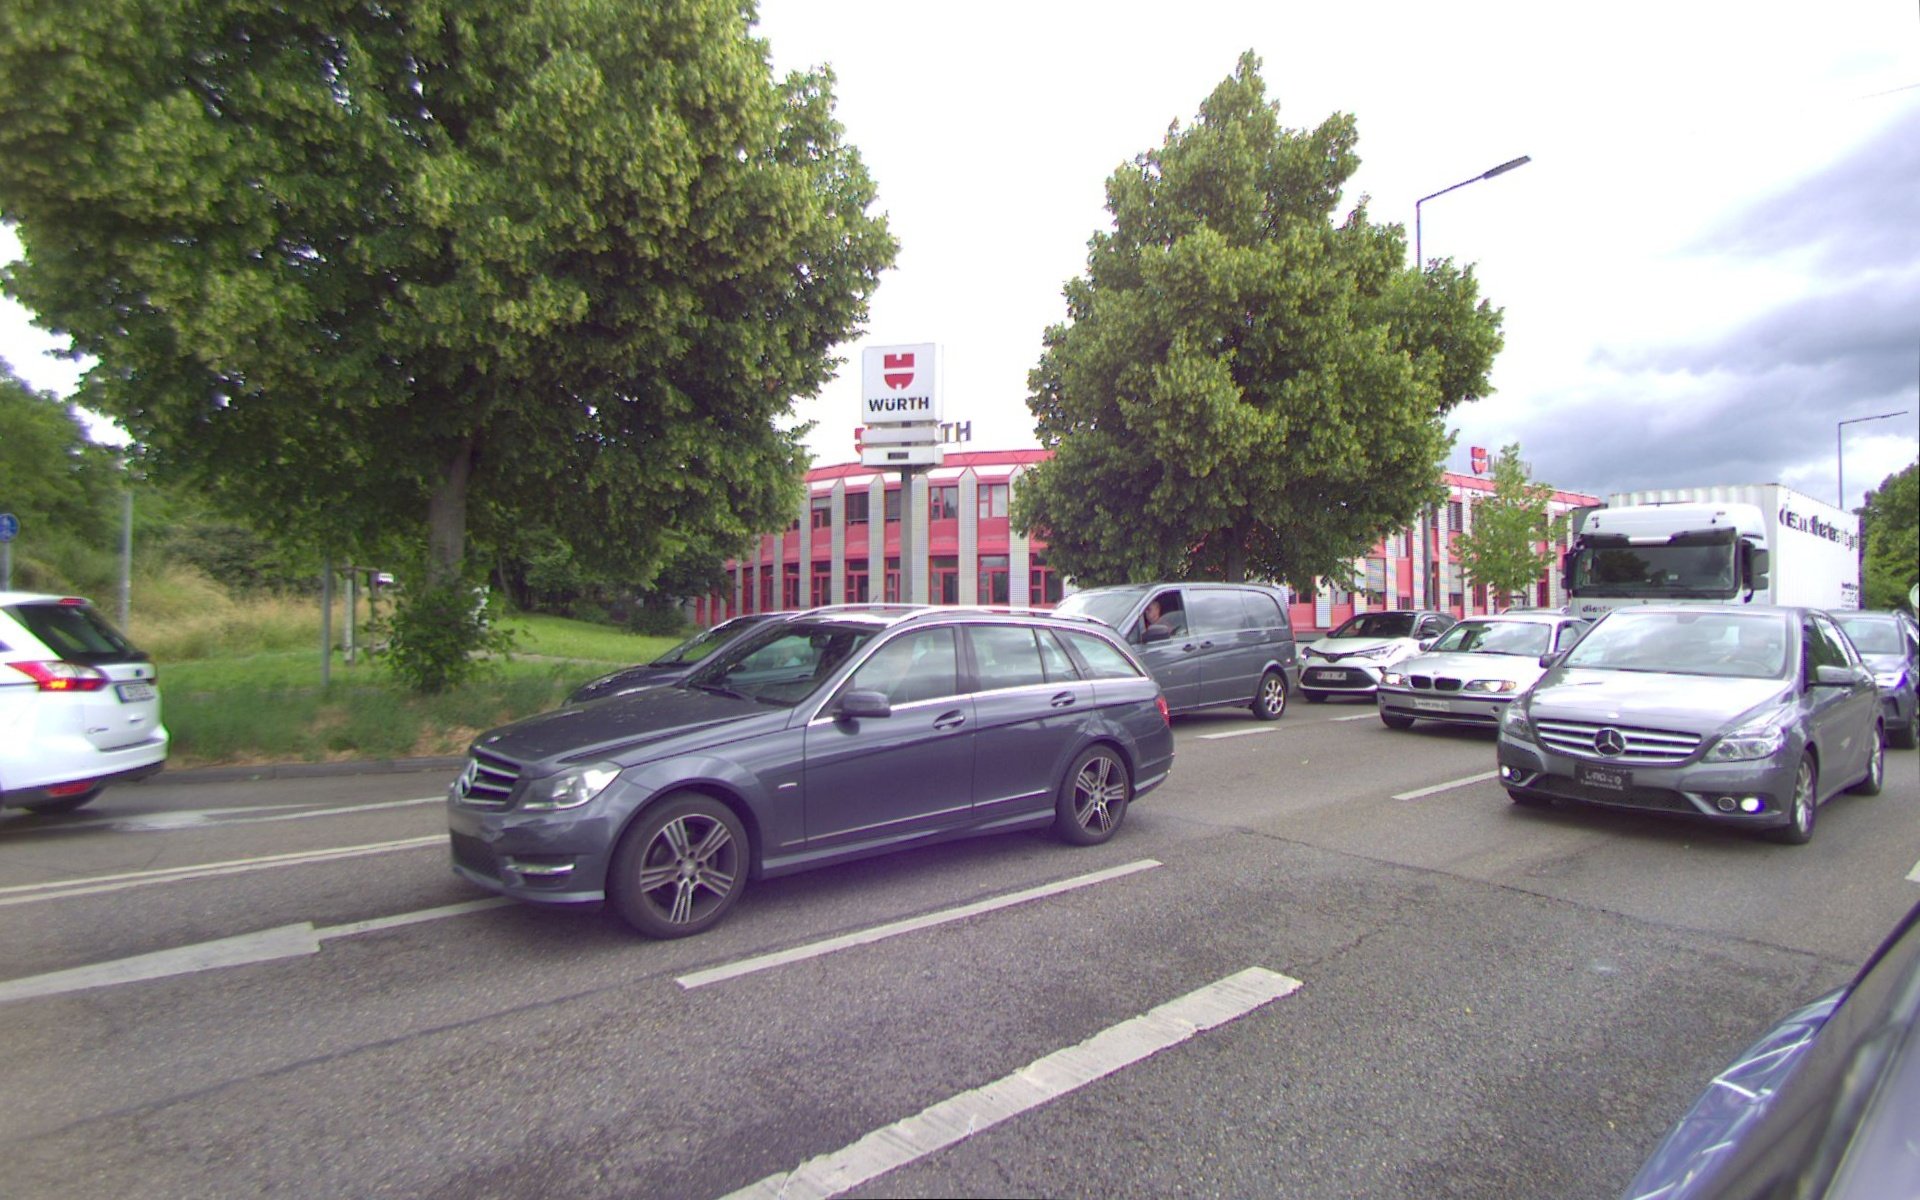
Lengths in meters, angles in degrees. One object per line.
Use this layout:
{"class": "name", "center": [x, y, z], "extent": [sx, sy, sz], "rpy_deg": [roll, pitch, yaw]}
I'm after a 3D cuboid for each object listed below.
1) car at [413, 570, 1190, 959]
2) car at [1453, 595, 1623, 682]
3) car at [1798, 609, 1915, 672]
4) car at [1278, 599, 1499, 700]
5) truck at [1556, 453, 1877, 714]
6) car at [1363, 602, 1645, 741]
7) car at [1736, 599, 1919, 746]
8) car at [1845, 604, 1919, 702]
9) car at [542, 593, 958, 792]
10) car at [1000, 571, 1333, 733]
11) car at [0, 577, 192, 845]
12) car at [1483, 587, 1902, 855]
{"class": "car", "center": [-0.652, 0.653, 5.991], "extent": [4.279, 1.504, 1.749], "rpy_deg": [1, -1, -41]}
{"class": "car", "center": [12.385, 0.805, 21.587], "extent": [4.133, 1.679, 1.863], "rpy_deg": [1, -3, -41]}
{"class": "car", "center": [24.372, 1.054, 27.456], "extent": [4.299, 1.549, 1.850], "rpy_deg": [1, -1, -41]}
{"class": "car", "center": [7.401, 0.800, 17.327], "extent": [4.034, 1.536, 1.842], "rpy_deg": [0, -4, -41]}
{"class": "truck", "center": [14.991, -0.234, 19.612], "extent": [10.000, 3.953, 2.808], "rpy_deg": [0, 0, -40]}
{"class": "car", "center": [6.942, 0.757, 12.721], "extent": [4.215, 1.400, 1.749], "rpy_deg": [-1, 1, -41]}
{"class": "car", "center": [10.860, 0.775, 12.232], "extent": [3.769, 1.512, 1.627], "rpy_deg": [1, -1, -41]}
{"class": "car", "center": [16.270, 0.860, 16.808], "extent": [3.431, 1.525, 1.825], "rpy_deg": [2, -1, -39]}
{"class": "car", "center": [-1.915, 0.707, 9.526], "extent": [3.495, 1.525, 1.608], "rpy_deg": [-1, 0, -34]}
{"class": "car", "center": [2.856, 0.642, 13.396], "extent": [4.591, 1.798, 1.761], "rpy_deg": [0, -4, -40]}
{"class": "car", "center": [-7.910, 0.704, 6.591], "extent": [4.278, 1.676, 1.767], "rpy_deg": [0, -1, -20]}
{"class": "car", "center": [5.738, 0.716, 7.748], "extent": [3.976, 1.527, 1.749], "rpy_deg": [1, -1, -41]}
